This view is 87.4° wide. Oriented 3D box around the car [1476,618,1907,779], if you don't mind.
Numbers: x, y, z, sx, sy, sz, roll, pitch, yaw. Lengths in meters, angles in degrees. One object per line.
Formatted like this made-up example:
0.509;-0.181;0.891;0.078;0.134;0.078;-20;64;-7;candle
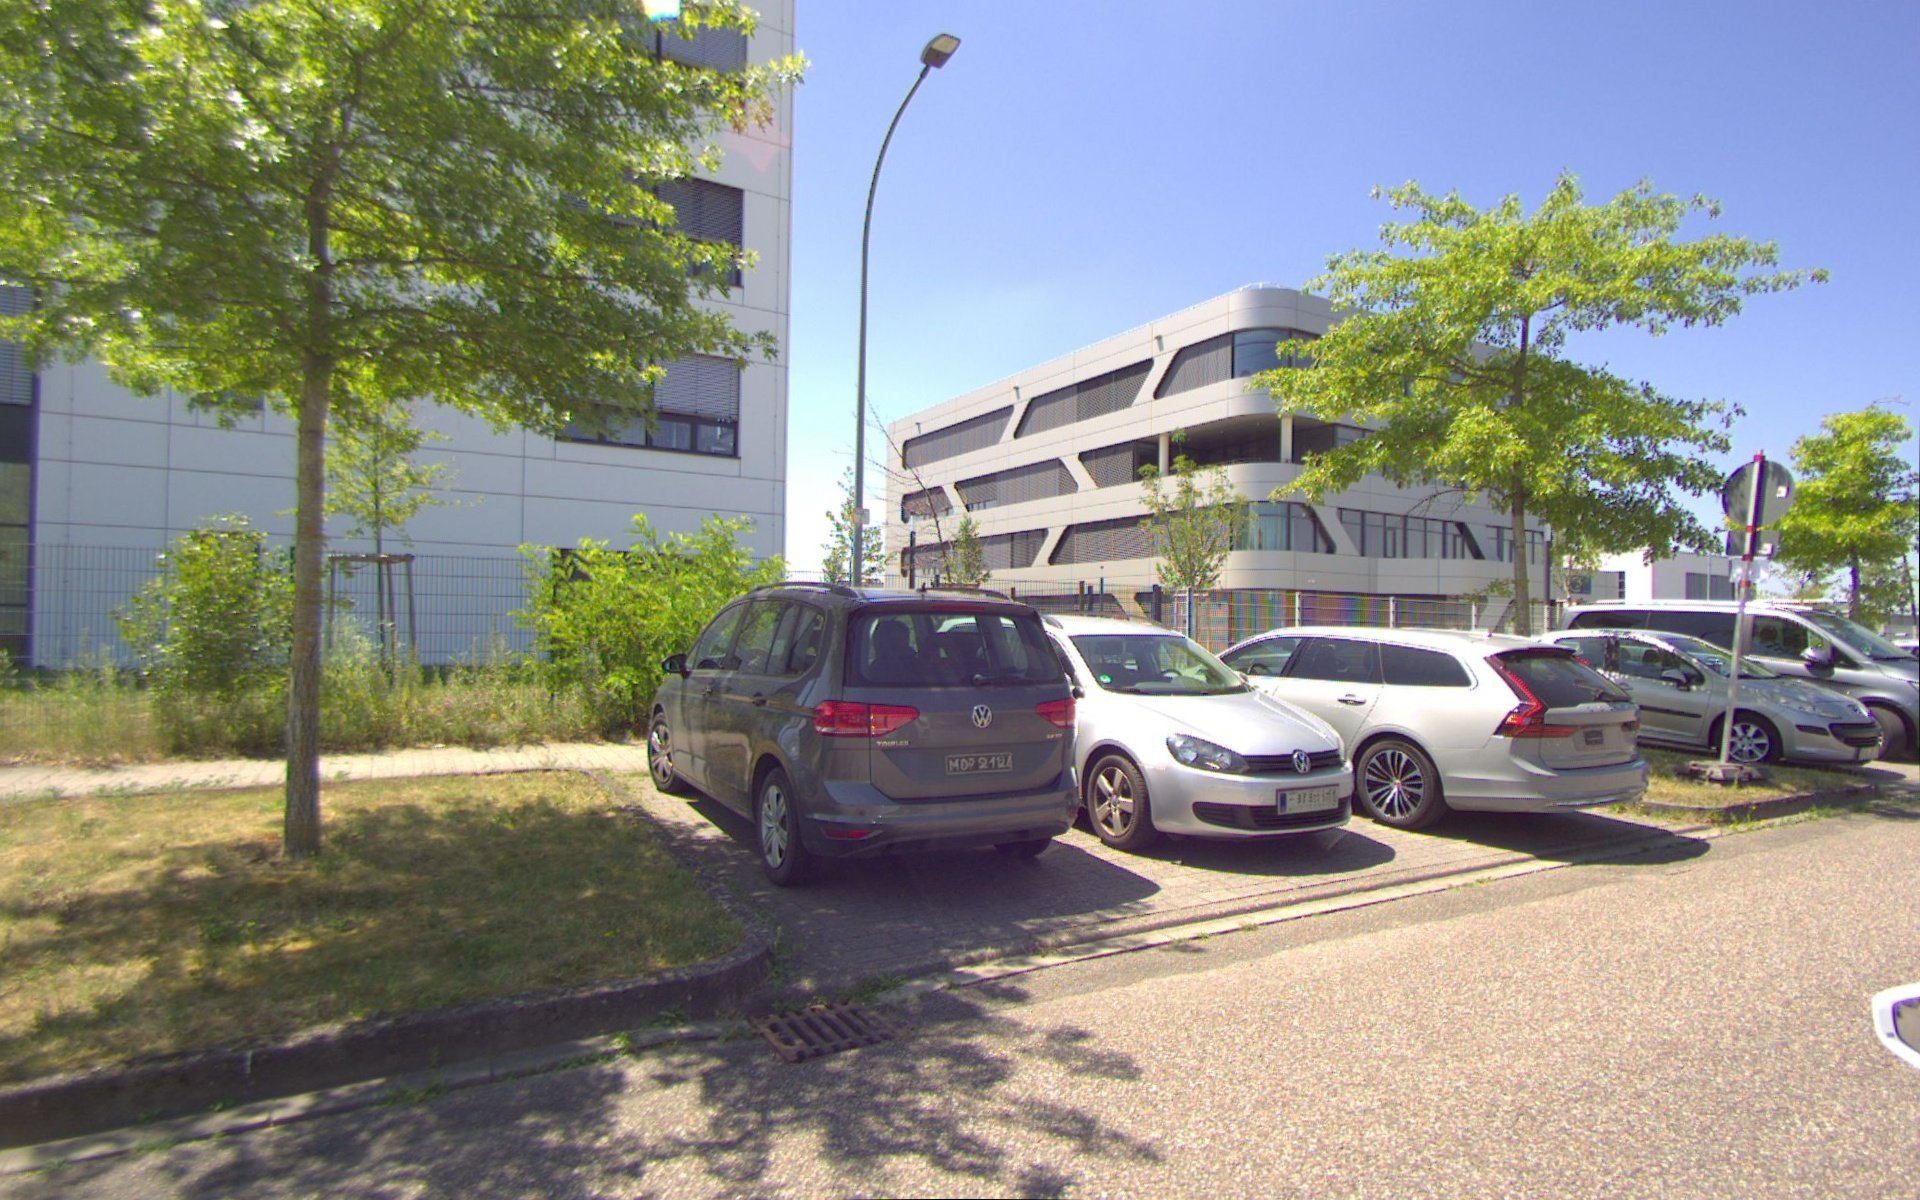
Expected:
8.808;1.066;12.478;1.743;1.504;3.950;2;1;-29;car

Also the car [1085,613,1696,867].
3.316;0.921;8.777;1.837;1.466;4.686;1;0;-32;car

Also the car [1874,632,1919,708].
20.805;1.486;19.522;1.692;1.500;4.174;2;0;-29;car

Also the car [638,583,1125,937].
-0.861;0.736;6.901;1.707;1.656;4.097;1;0;-30;car

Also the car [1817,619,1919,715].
18.638;1.301;18.520;1.759;1.701;3.961;2;0;-34;car

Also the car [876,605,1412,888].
1.079;0.845;7.895;1.708;1.493;4.287;1;0;-32;car

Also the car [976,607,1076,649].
2.885;1.253;43.759;3.954;1.739;1.984;2;-2;-31;car

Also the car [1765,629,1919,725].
16.385;1.333;16.995;1.587;1.480;4.014;2;0;-32;car

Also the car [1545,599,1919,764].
11.263;0.990;14.048;1.972;1.917;5.049;1;0;-28;car
